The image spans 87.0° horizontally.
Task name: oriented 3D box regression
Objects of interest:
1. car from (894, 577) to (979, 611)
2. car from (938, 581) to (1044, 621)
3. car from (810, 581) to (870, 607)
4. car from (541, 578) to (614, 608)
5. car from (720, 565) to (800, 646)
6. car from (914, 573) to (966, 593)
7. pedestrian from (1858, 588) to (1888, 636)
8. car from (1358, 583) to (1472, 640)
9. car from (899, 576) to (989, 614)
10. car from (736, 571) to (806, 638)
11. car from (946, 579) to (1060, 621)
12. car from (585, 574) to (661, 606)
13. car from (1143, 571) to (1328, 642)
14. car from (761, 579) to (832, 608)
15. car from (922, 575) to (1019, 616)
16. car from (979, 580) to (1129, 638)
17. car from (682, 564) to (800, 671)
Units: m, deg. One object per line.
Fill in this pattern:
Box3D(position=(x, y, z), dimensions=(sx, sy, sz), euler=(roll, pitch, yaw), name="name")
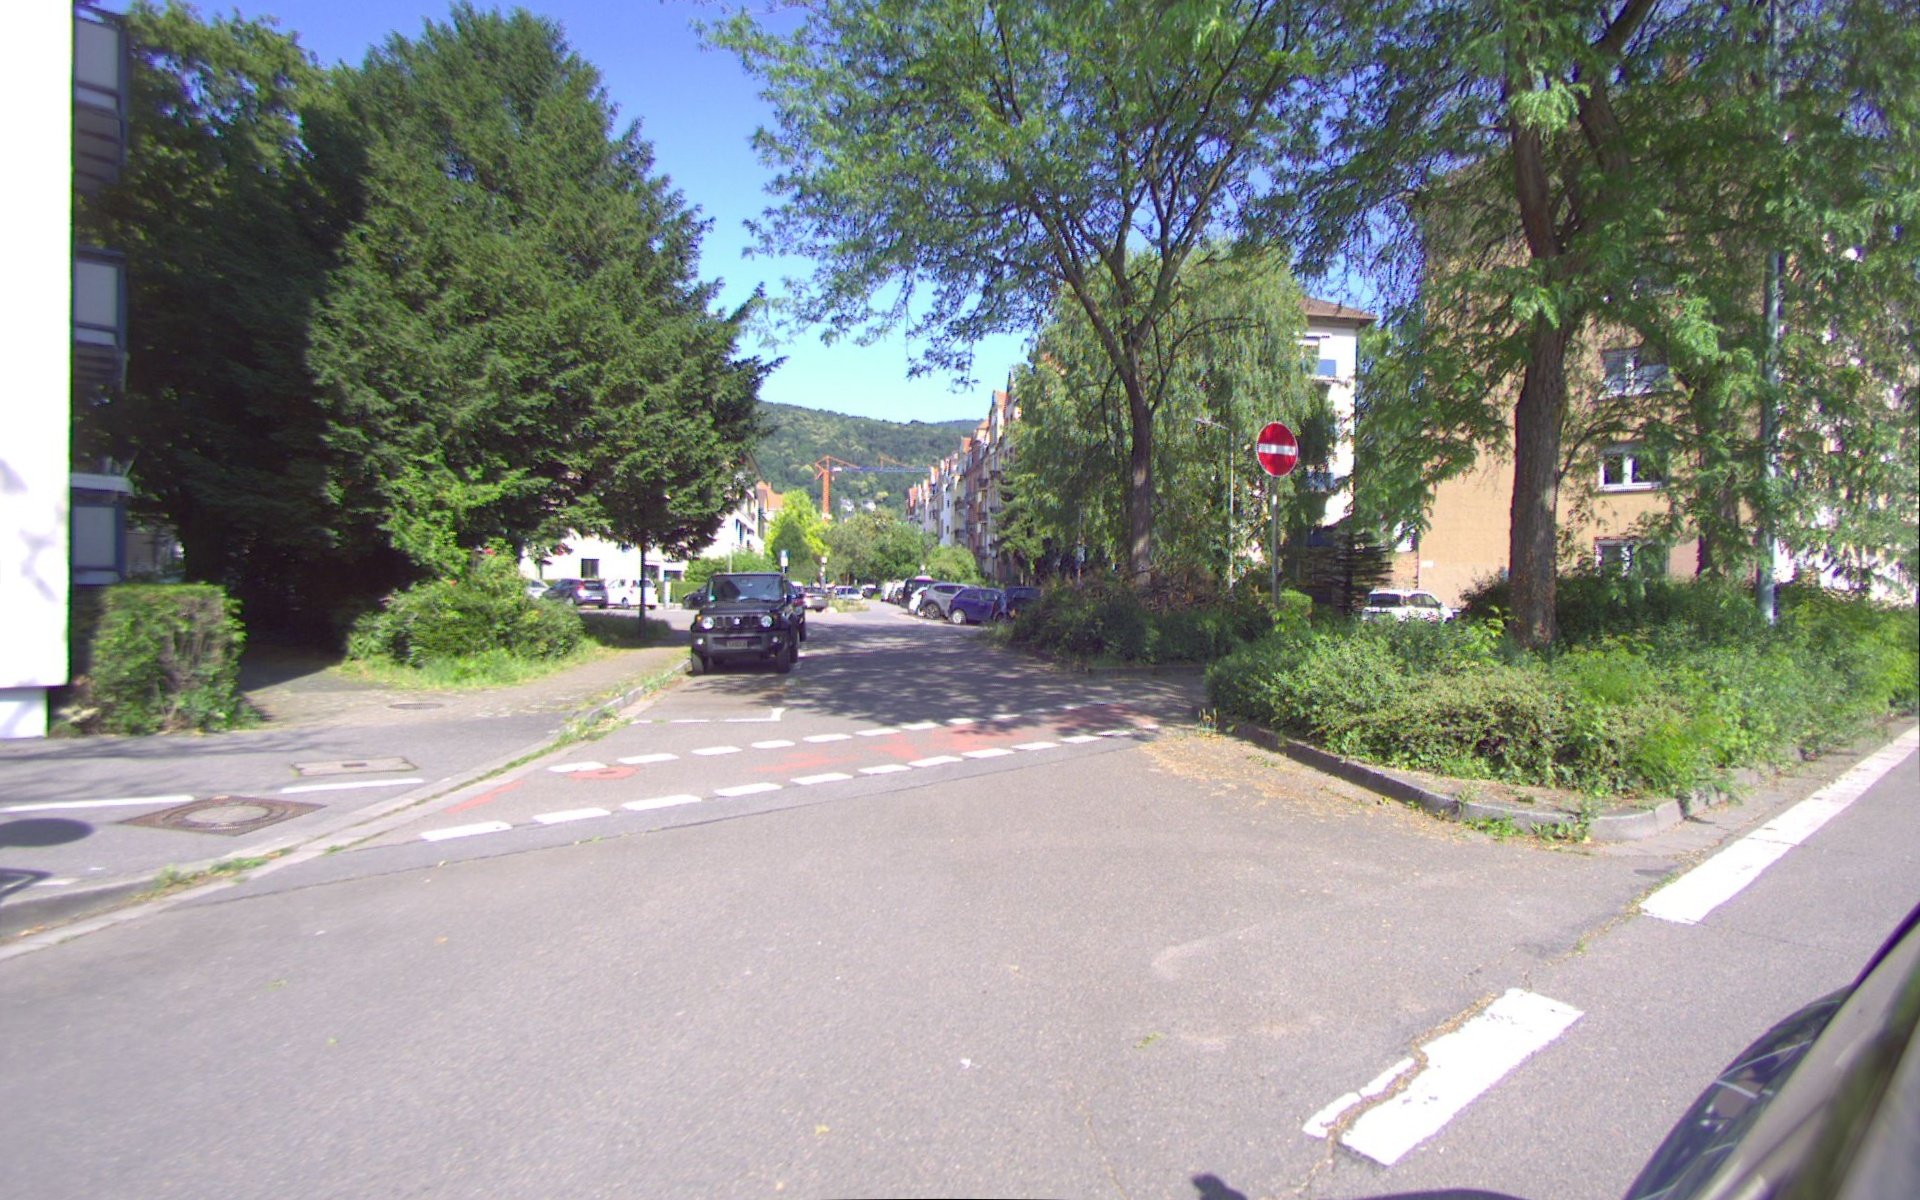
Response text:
Box3D(position=(-1.190, -0.338, 51.881), dimensions=(3.962, 1.660, 1.891), euler=(1, 1, 28), name="car")
Box3D(position=(1.285, 0.000, 41.653), dimensions=(3.964, 1.552, 1.915), euler=(1, 1, 29), name="car")
Box3D(position=(-8.060, -0.404, 68.204), dimensions=(3.919, 1.663, 2.003), euler=(1, 1, -6), name="car")
Box3D(position=(-17.836, -0.324, 47.117), dimensions=(3.402, 1.341, 1.738), euler=(1, 1, 40), name="car")
Box3D(position=(-4.503, 0.078, 23.083), dimensions=(1.628, 1.694, 3.855), euler=(0, 1, -10), name="car")
Box3D(position=(-1.509, -1.295, 76.198), dimensions=(3.923, 1.444, 1.910), euler=(0, 1, -1), name="car")
Box3D(position=(31.375, 0.404, 34.782), dimensions=(0.809, 1.629, 0.656), euler=(0, 1, -40), name="pedestrian")
Box3D(position=(14.206, 0.327, 31.526), dimensions=(3.715, 1.661, 1.660), euler=(0, 1, -37), name="car")
Box3D(position=(-0.787, -0.270, 48.616), dimensions=(3.967, 1.749, 1.849), euler=(1, 1, 31), name="car")
Box3D(position=(-5.186, 0.069, 27.941), dimensions=(1.752, 1.694, 4.217), euler=(0, 1, -10), name="car")
Box3D(position=(1.643, -0.023, 38.819), dimensions=(3.964, 1.532, 1.915), euler=(1, 1, 29), name="car")
Box3D(position=(-16.129, -0.488, 48.421), dimensions=(3.784, 1.491, 1.738), euler=(1, 1, 40), name="car")
Box3D(position=(6.618, 0.114, 24.490), dimensions=(3.955, 1.567, 1.814), euler=(1, 1, 41), name="car")
Box3D(position=(-9.037, -0.373, 55.654), dimensions=(3.987, 1.482, 1.818), euler=(2, 1, 43), name="car")
Box3D(position=(0.466, -0.214, 45.013), dimensions=(3.967, 1.749, 1.849), euler=(1, 1, 31), name="car")
Box3D(position=(2.545, 0.204, 27.752), dimensions=(3.749, 1.460, 1.758), euler=(2, 1, 36), name="car")
Box3D(position=(-3.765, 0.238, 17.866), dimensions=(1.653, 1.675, 3.594), euler=(0, 1, -6), name="car")
